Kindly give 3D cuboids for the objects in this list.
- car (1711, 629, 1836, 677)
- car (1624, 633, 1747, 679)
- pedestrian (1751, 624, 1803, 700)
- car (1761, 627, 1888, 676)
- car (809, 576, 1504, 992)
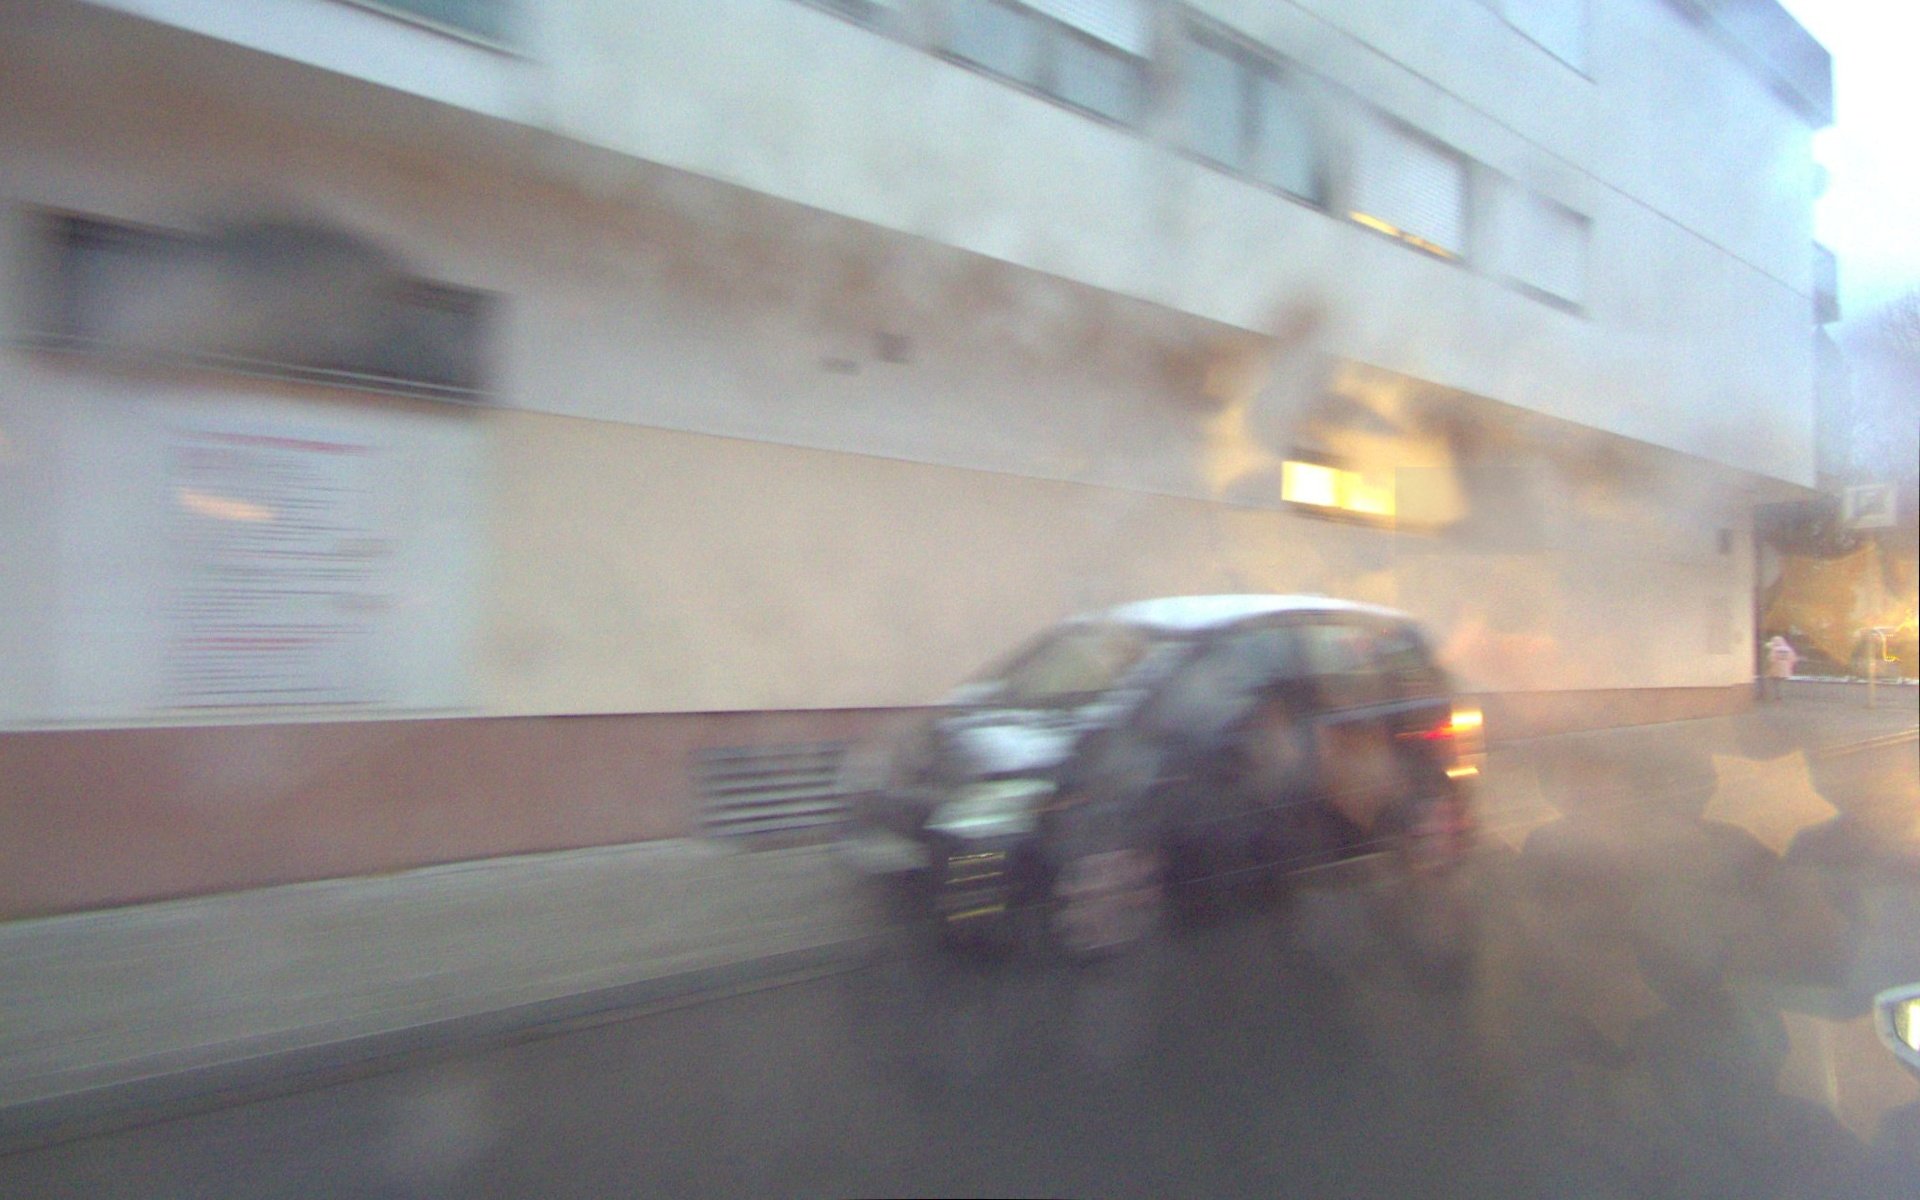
[{"bbox_3d":[35.194,2.261,43.615,1.788,1.936,3.991,0,-1,-12],"label":"car"},{"bbox_3d":[30.148,2.300,41.896,1.788,1.753,3.991,0,-1,-12],"label":"car"},{"bbox_3d":[16.293,1.219,20.047,0.637,1.478,0.650,0,0,21],"label":"pedestrian"},{"bbox_3d":[38.064,2.244,44.365,1.788,2.025,3.991,0,-1,-12],"label":"car"},{"bbox_3d":[1.227,0.767,5.804,3.771,1.664,1.784,1,0,-33],"label":"car"}]
